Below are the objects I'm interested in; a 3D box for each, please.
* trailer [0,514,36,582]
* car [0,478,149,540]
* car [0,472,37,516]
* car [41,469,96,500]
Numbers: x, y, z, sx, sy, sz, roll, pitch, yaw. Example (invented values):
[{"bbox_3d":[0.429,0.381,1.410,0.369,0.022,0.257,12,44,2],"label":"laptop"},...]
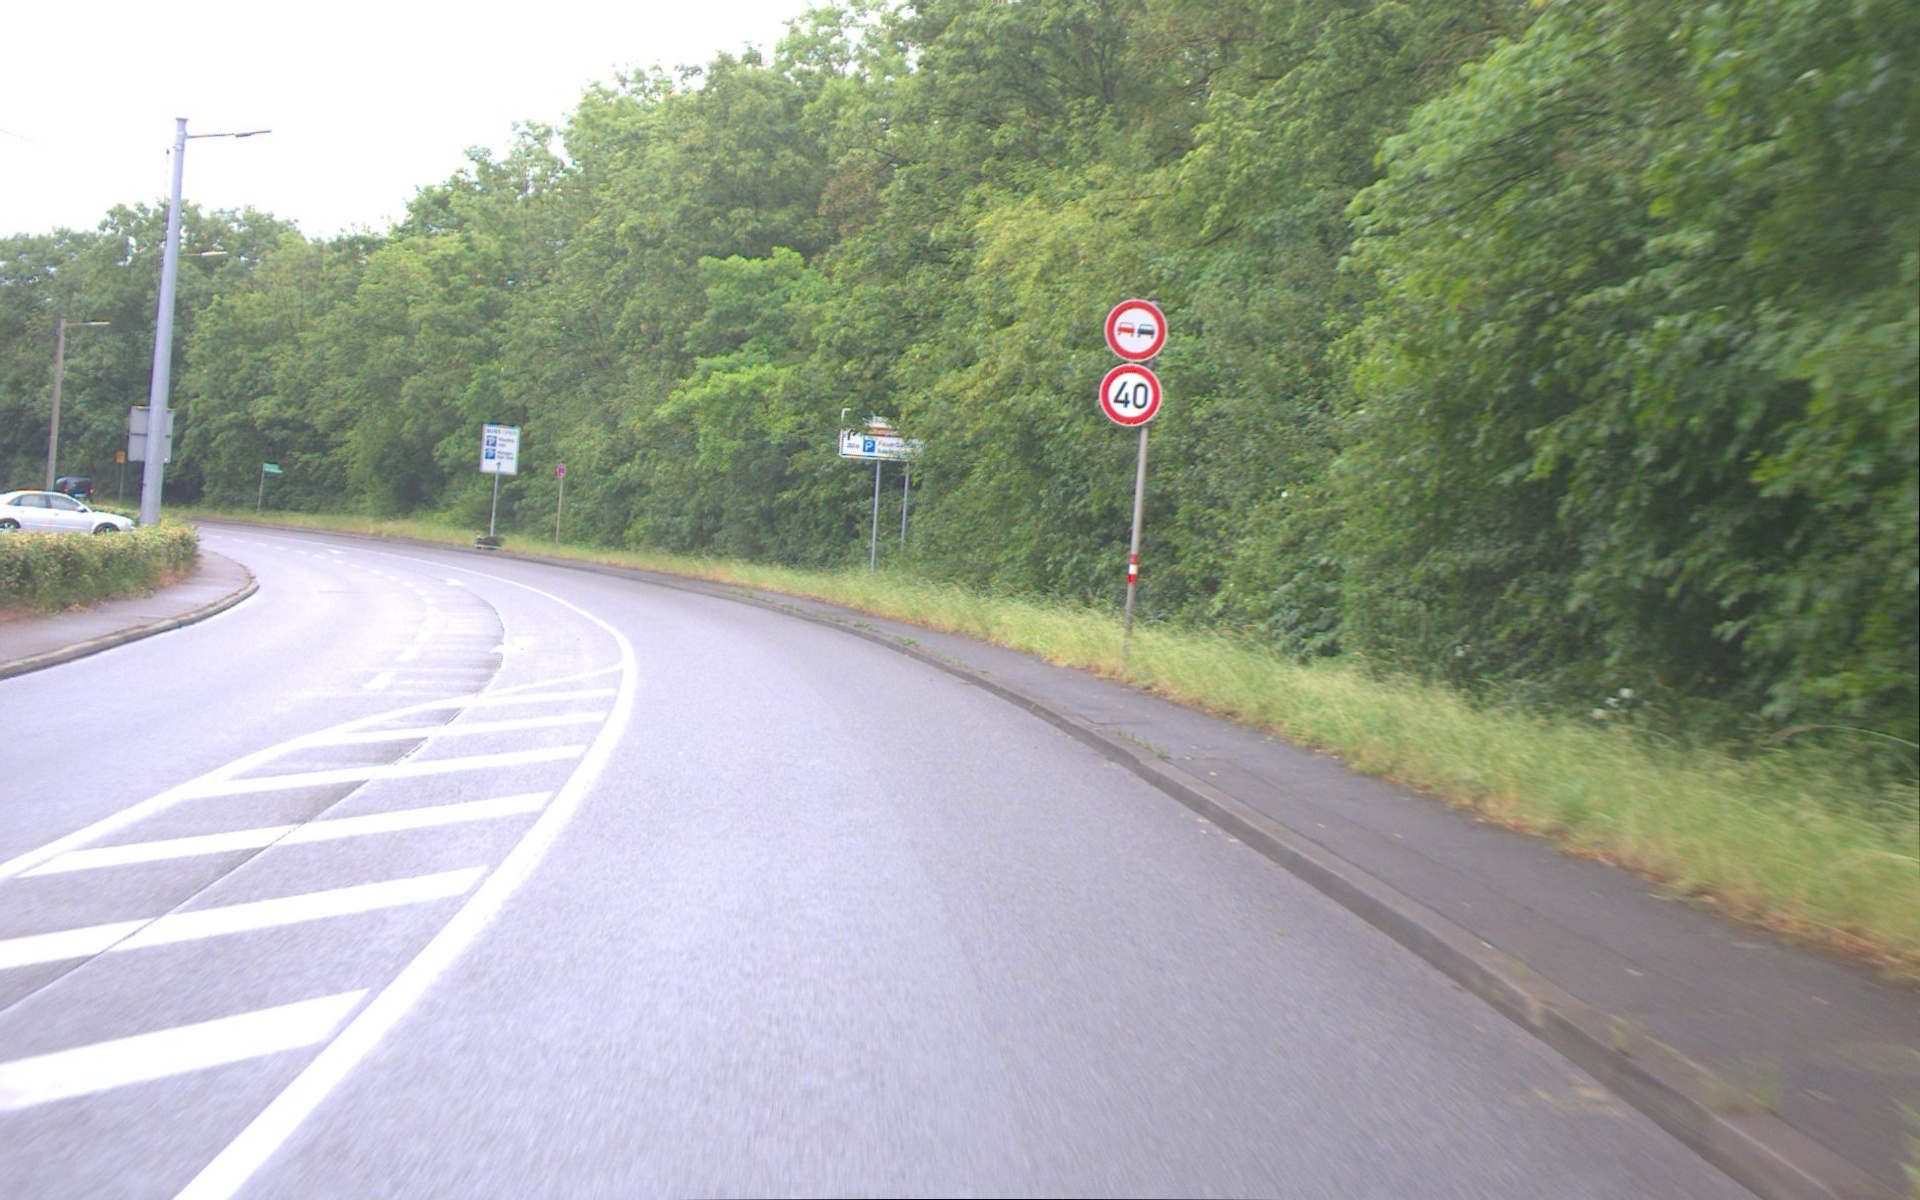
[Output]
[{"bbox_3d":[-15.514,-0.849,54.056,1.800,1.031,1.334,2,1,-12],"label":"trailer"},{"bbox_3d":[-24.795,-2.518,94.587,4.574,1.501,2.001,2,1,-21],"label":"car"},{"bbox_3d":[-39.509,-4.358,138.541,4.289,1.702,2.001,2,1,-18],"label":"car"},{"bbox_3d":[-47.302,-6.151,182.388,1.934,1.493,4.319,2,2,-26],"label":"car"}]
